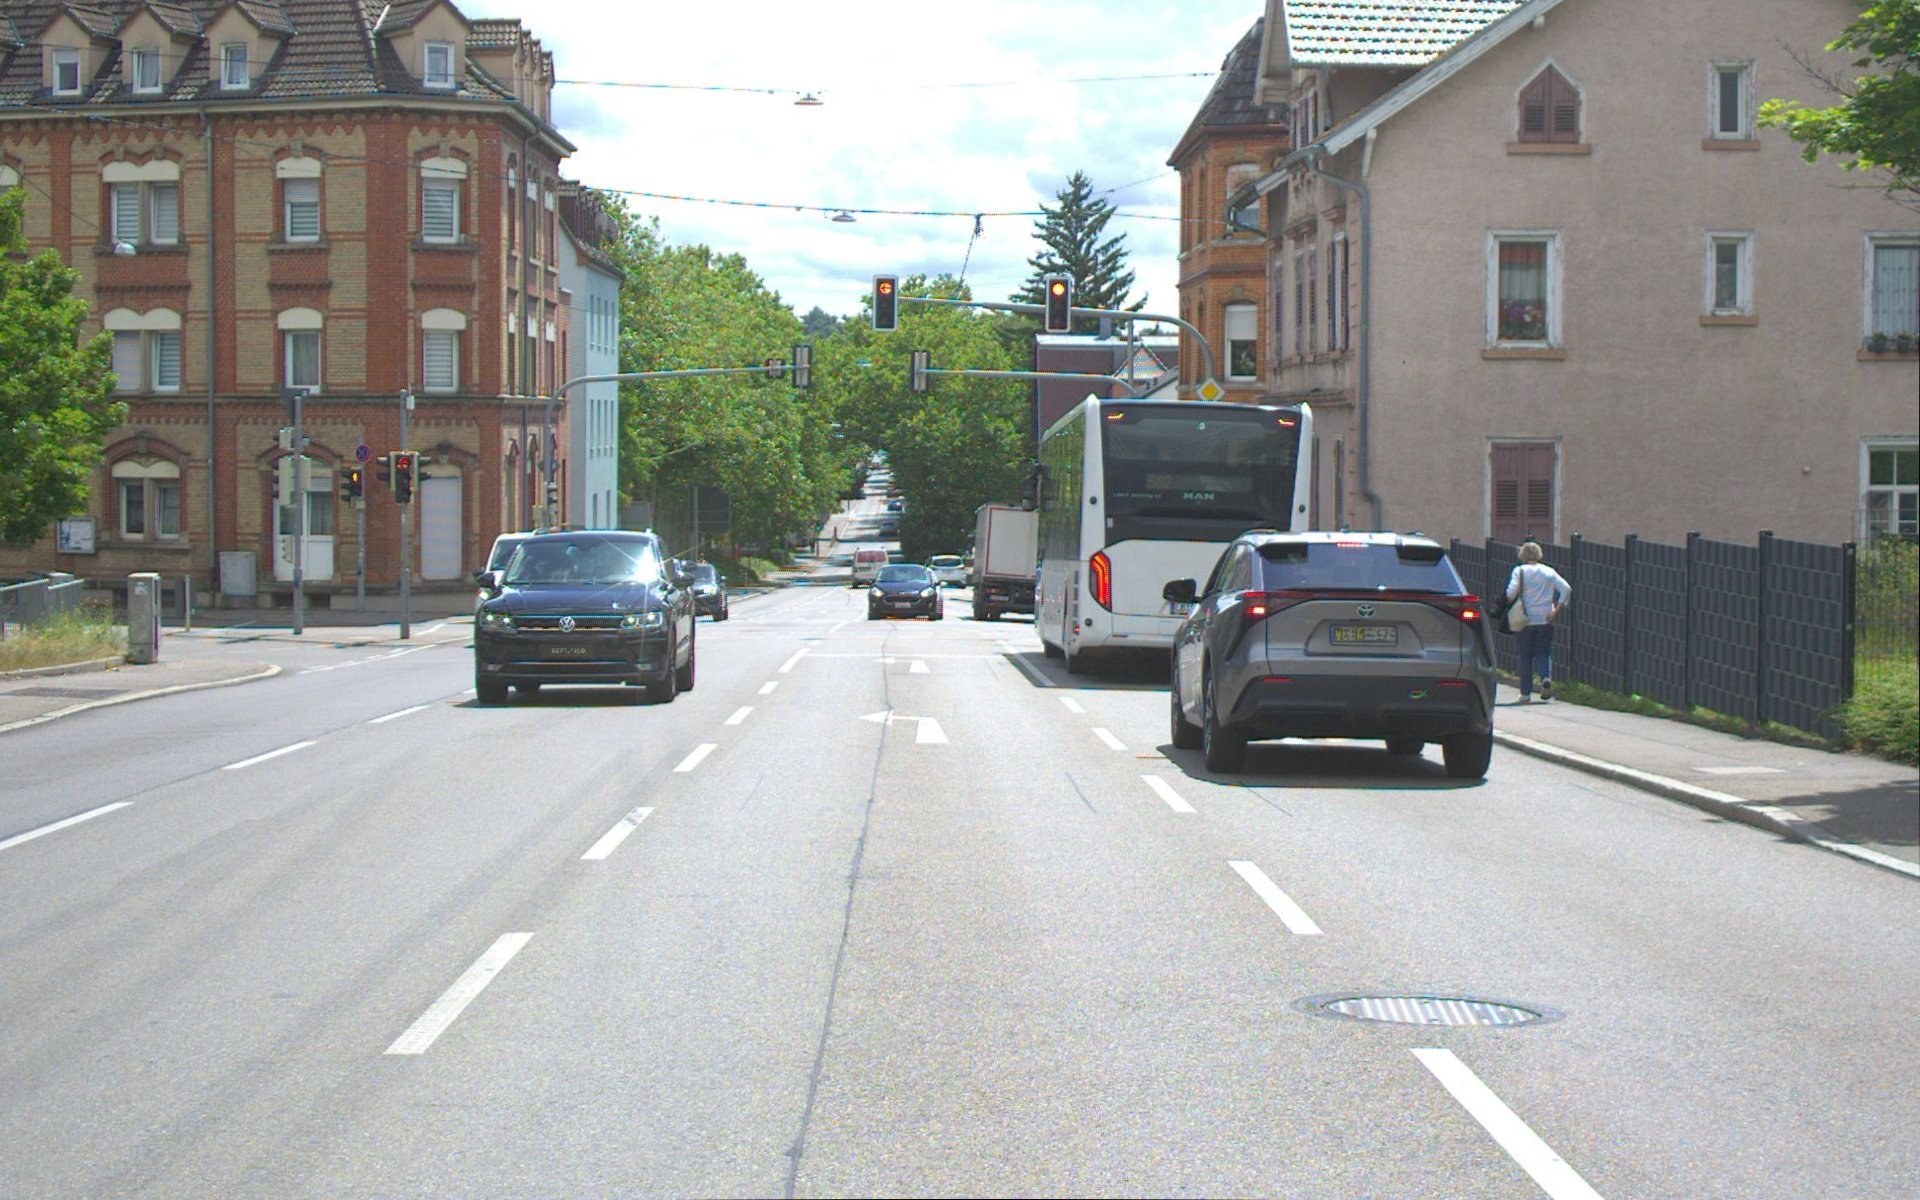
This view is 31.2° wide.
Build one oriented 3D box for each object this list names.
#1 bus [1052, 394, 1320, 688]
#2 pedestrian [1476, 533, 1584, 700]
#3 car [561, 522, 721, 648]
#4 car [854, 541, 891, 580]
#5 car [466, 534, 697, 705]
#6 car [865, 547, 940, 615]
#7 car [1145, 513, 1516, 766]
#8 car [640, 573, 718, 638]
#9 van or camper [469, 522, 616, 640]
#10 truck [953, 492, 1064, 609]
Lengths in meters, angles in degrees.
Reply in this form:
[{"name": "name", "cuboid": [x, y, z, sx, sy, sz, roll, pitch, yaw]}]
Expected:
[{"name": "bus", "cuboid": [2.624, -0.826, 43.619, 2.802, 3.187, 12.196, 0, 2, 1]}, {"name": "pedestrian", "cuboid": [5.539, 0.146, 33.464, 0.813, 1.576, 1.070, -2, 1, -1]}, {"name": "car", "cuboid": [-4.341, -0.237, 47.368, 1.864, 1.650, 4.379, 0, 1, -1]}, {"name": "car", "cuboid": [-4.450, -2.018, 173.769, 1.832, 1.875, 4.001, 0, 2, -2]}, {"name": "car", "cuboid": [-3.583, 0.139, 33.154, 1.864, 1.535, 4.107, 0, 1, -1]}, {"name": "car", "cuboid": [-1.467, -0.496, 87.104, 1.864, 1.660, 4.260, 0, 1, -1]}, {"name": "car", "cuboid": [2.444, 0.259, 23.711, 1.930, 1.578, 4.208, 0, 0, -2]}, {"name": "car", "cuboid": [-7.553, 0.129, 92.715, 1.864, 1.660, 4.260, 0, 1, -1]}, {"name": "van or camper", "cuboid": [-7.009, -0.358, 58.192, 1.970, 1.908, 5.129, 0, 1, -1]}, {"name": "truck", "cuboid": [1.311, -1.422, 97.428, 2.666, 3.097, 9.036, -1, 1, -2]}]
